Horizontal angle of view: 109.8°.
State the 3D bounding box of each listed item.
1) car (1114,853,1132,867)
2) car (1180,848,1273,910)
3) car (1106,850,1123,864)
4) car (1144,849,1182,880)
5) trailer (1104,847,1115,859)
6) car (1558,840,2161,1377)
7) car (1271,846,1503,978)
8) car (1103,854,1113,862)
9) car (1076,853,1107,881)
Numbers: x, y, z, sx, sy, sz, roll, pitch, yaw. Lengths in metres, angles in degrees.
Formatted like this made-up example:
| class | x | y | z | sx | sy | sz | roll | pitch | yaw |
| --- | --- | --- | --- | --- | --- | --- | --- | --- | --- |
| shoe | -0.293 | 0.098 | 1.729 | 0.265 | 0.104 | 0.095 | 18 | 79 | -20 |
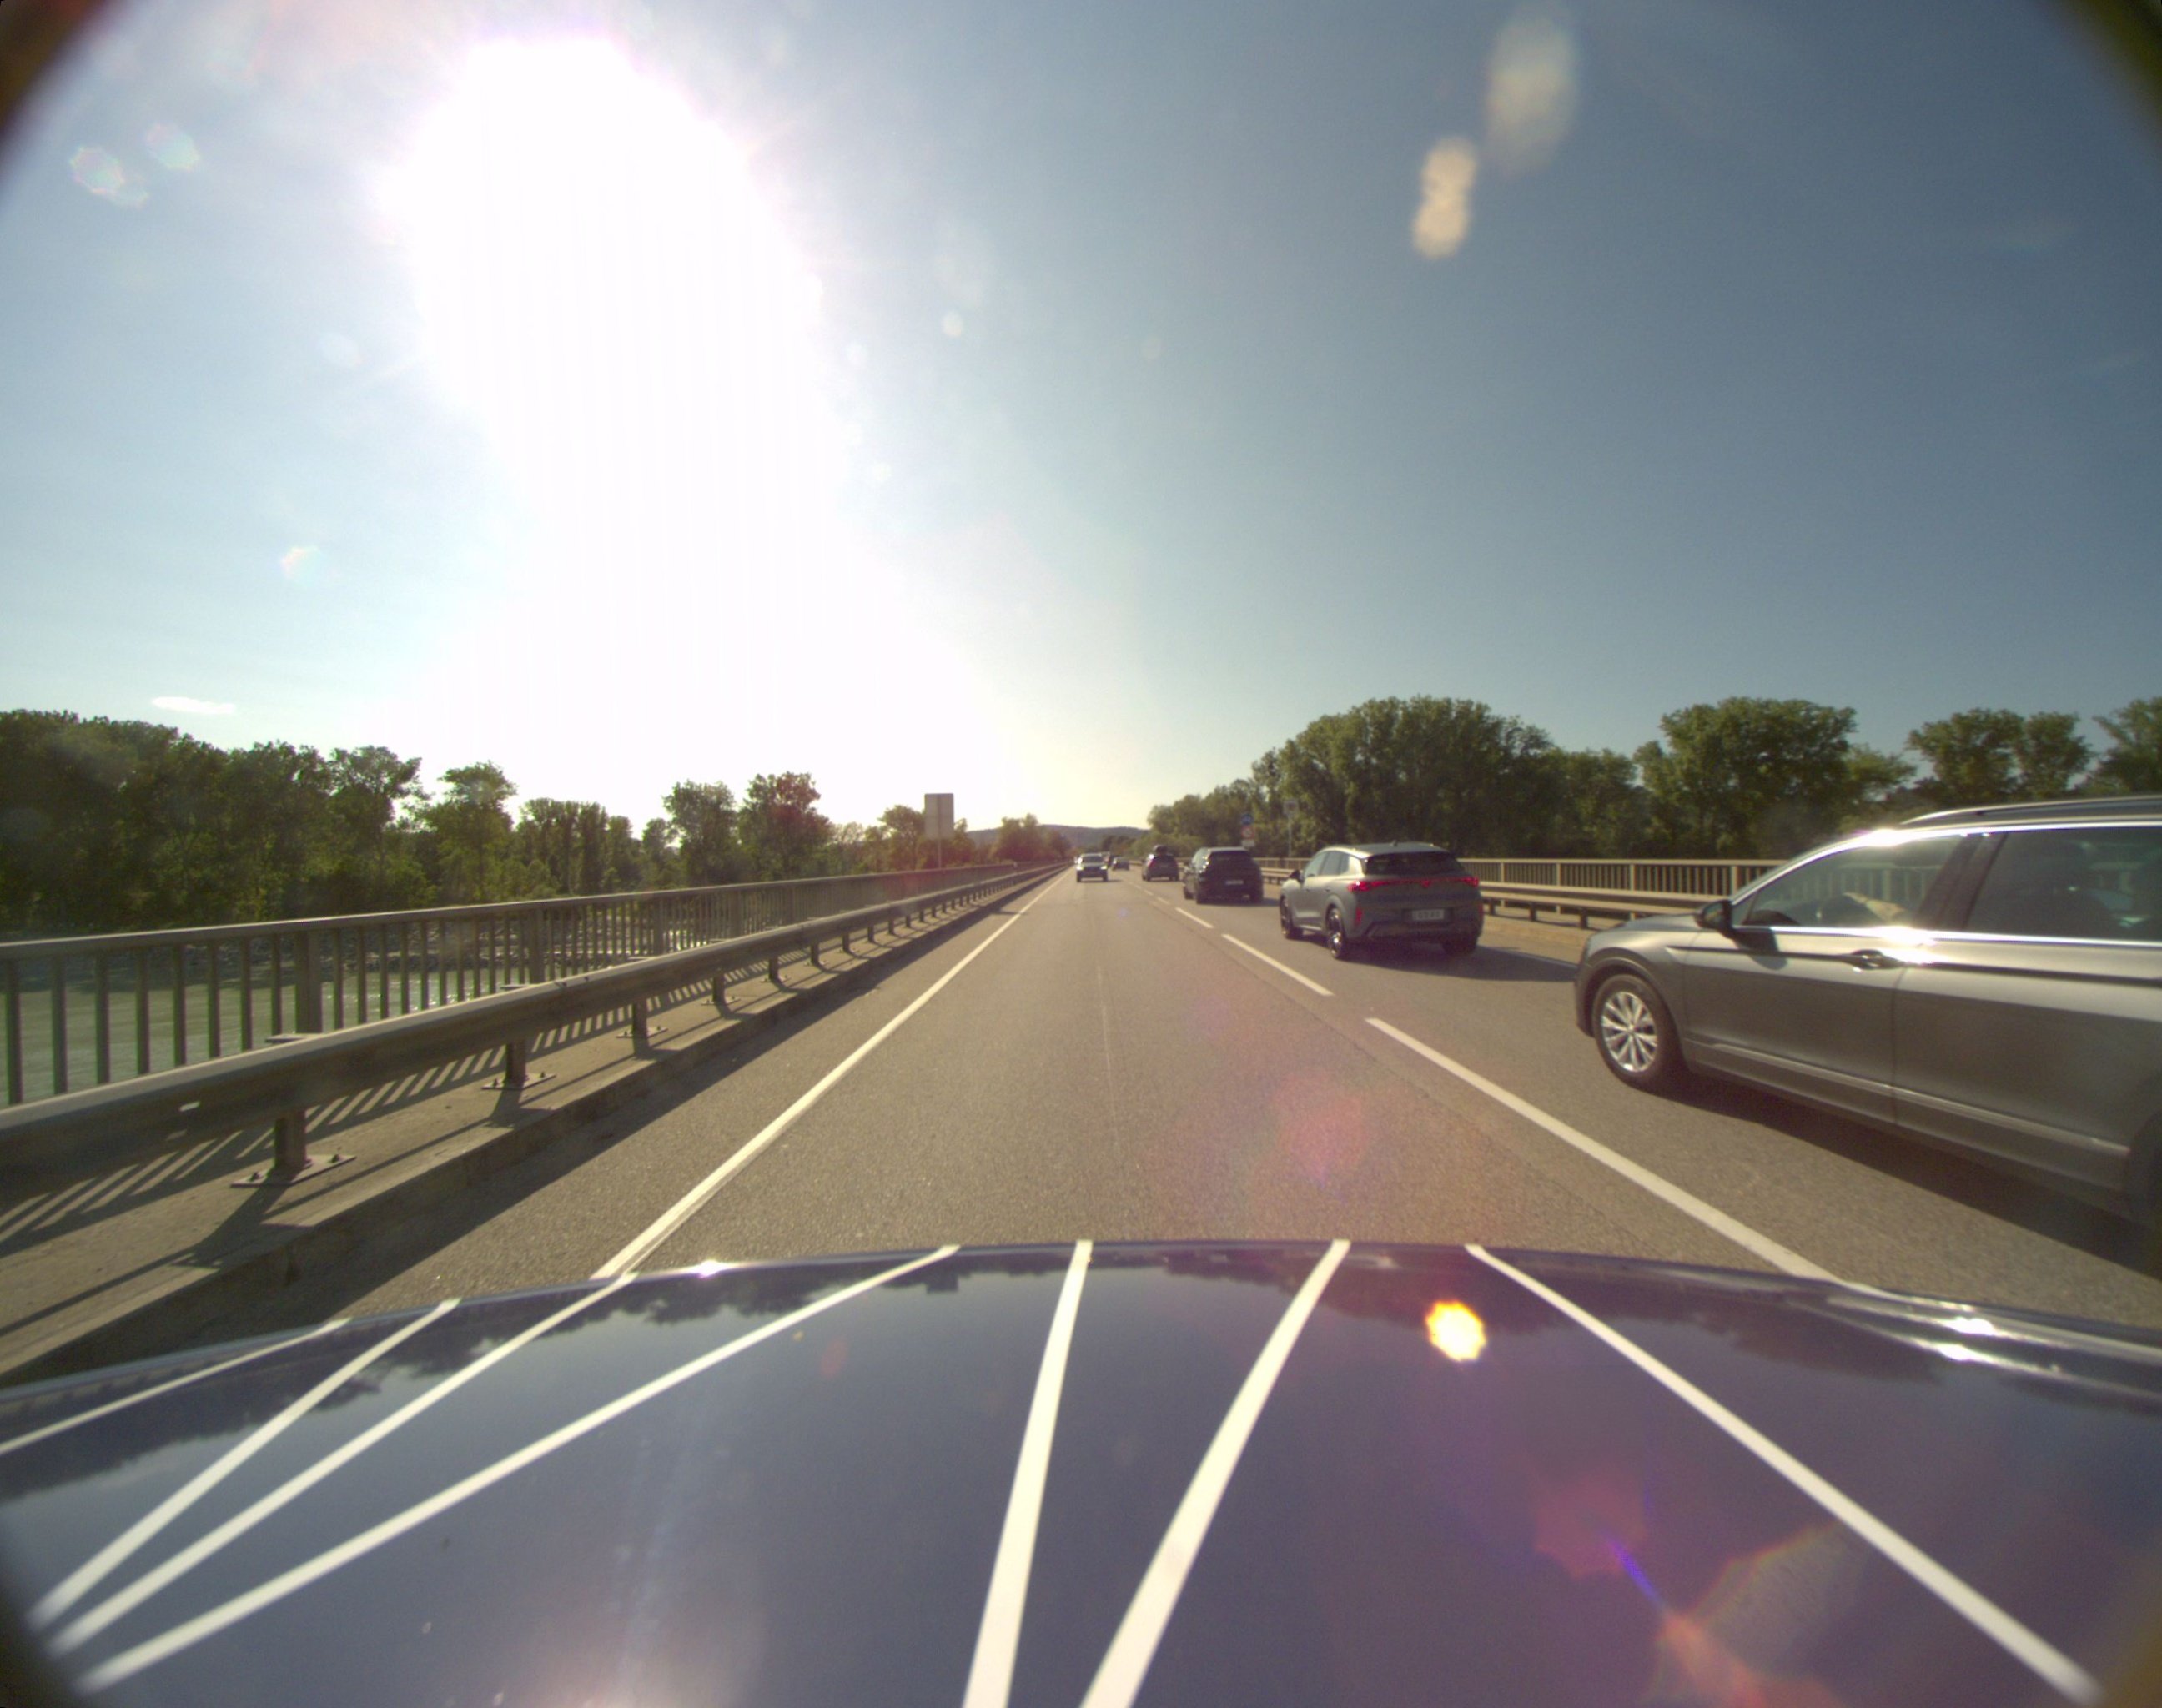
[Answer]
| class | x | y | z | sx | sy | sz | roll | pitch | yaw |
| --- | --- | --- | --- | --- | --- | --- | --- | --- | --- |
| car | 4.637 | 0.667 | 84.092 | 1.770 | 1.439 | 4.456 | -2 | 0 | 0 |
| car | 4.477 | 0.706 | 24.106 | 2.058 | 1.643 | 4.721 | -4 | 0 | 2 |
| car | 4.759 | 0.392 | 109.172 | 2.042 | 1.863 | 5.069 | -2 | 0 | 0 |
| car | 4.843 | 0.610 | 45.506 | 1.859 | 1.712 | 4.566 | -2 | 0 | 1 |
| trailer | 6.738 | -0.231 | 178.988 | 2.561 | 2.721 | 8.063 | -2 | 0 | 2 |
| car | 4.160 | 0.751 | 2.990 | 1.879 | 1.574 | 4.274 | -2 | 0 | 1 |
| car | 4.307 | 0.714 | 11.482 | 1.811 | 1.568 | 4.201 | -2 | 0 | 1 |
| car | 5.733 | 0.777 | 163.189 | 1.807 | 1.651 | 4.433 | -2 | 0 | 0 |
| car | 0.702 | 0.792 | 48.572 | 1.871 | 1.598 | 4.379 | -2 | 0 | 1 |
